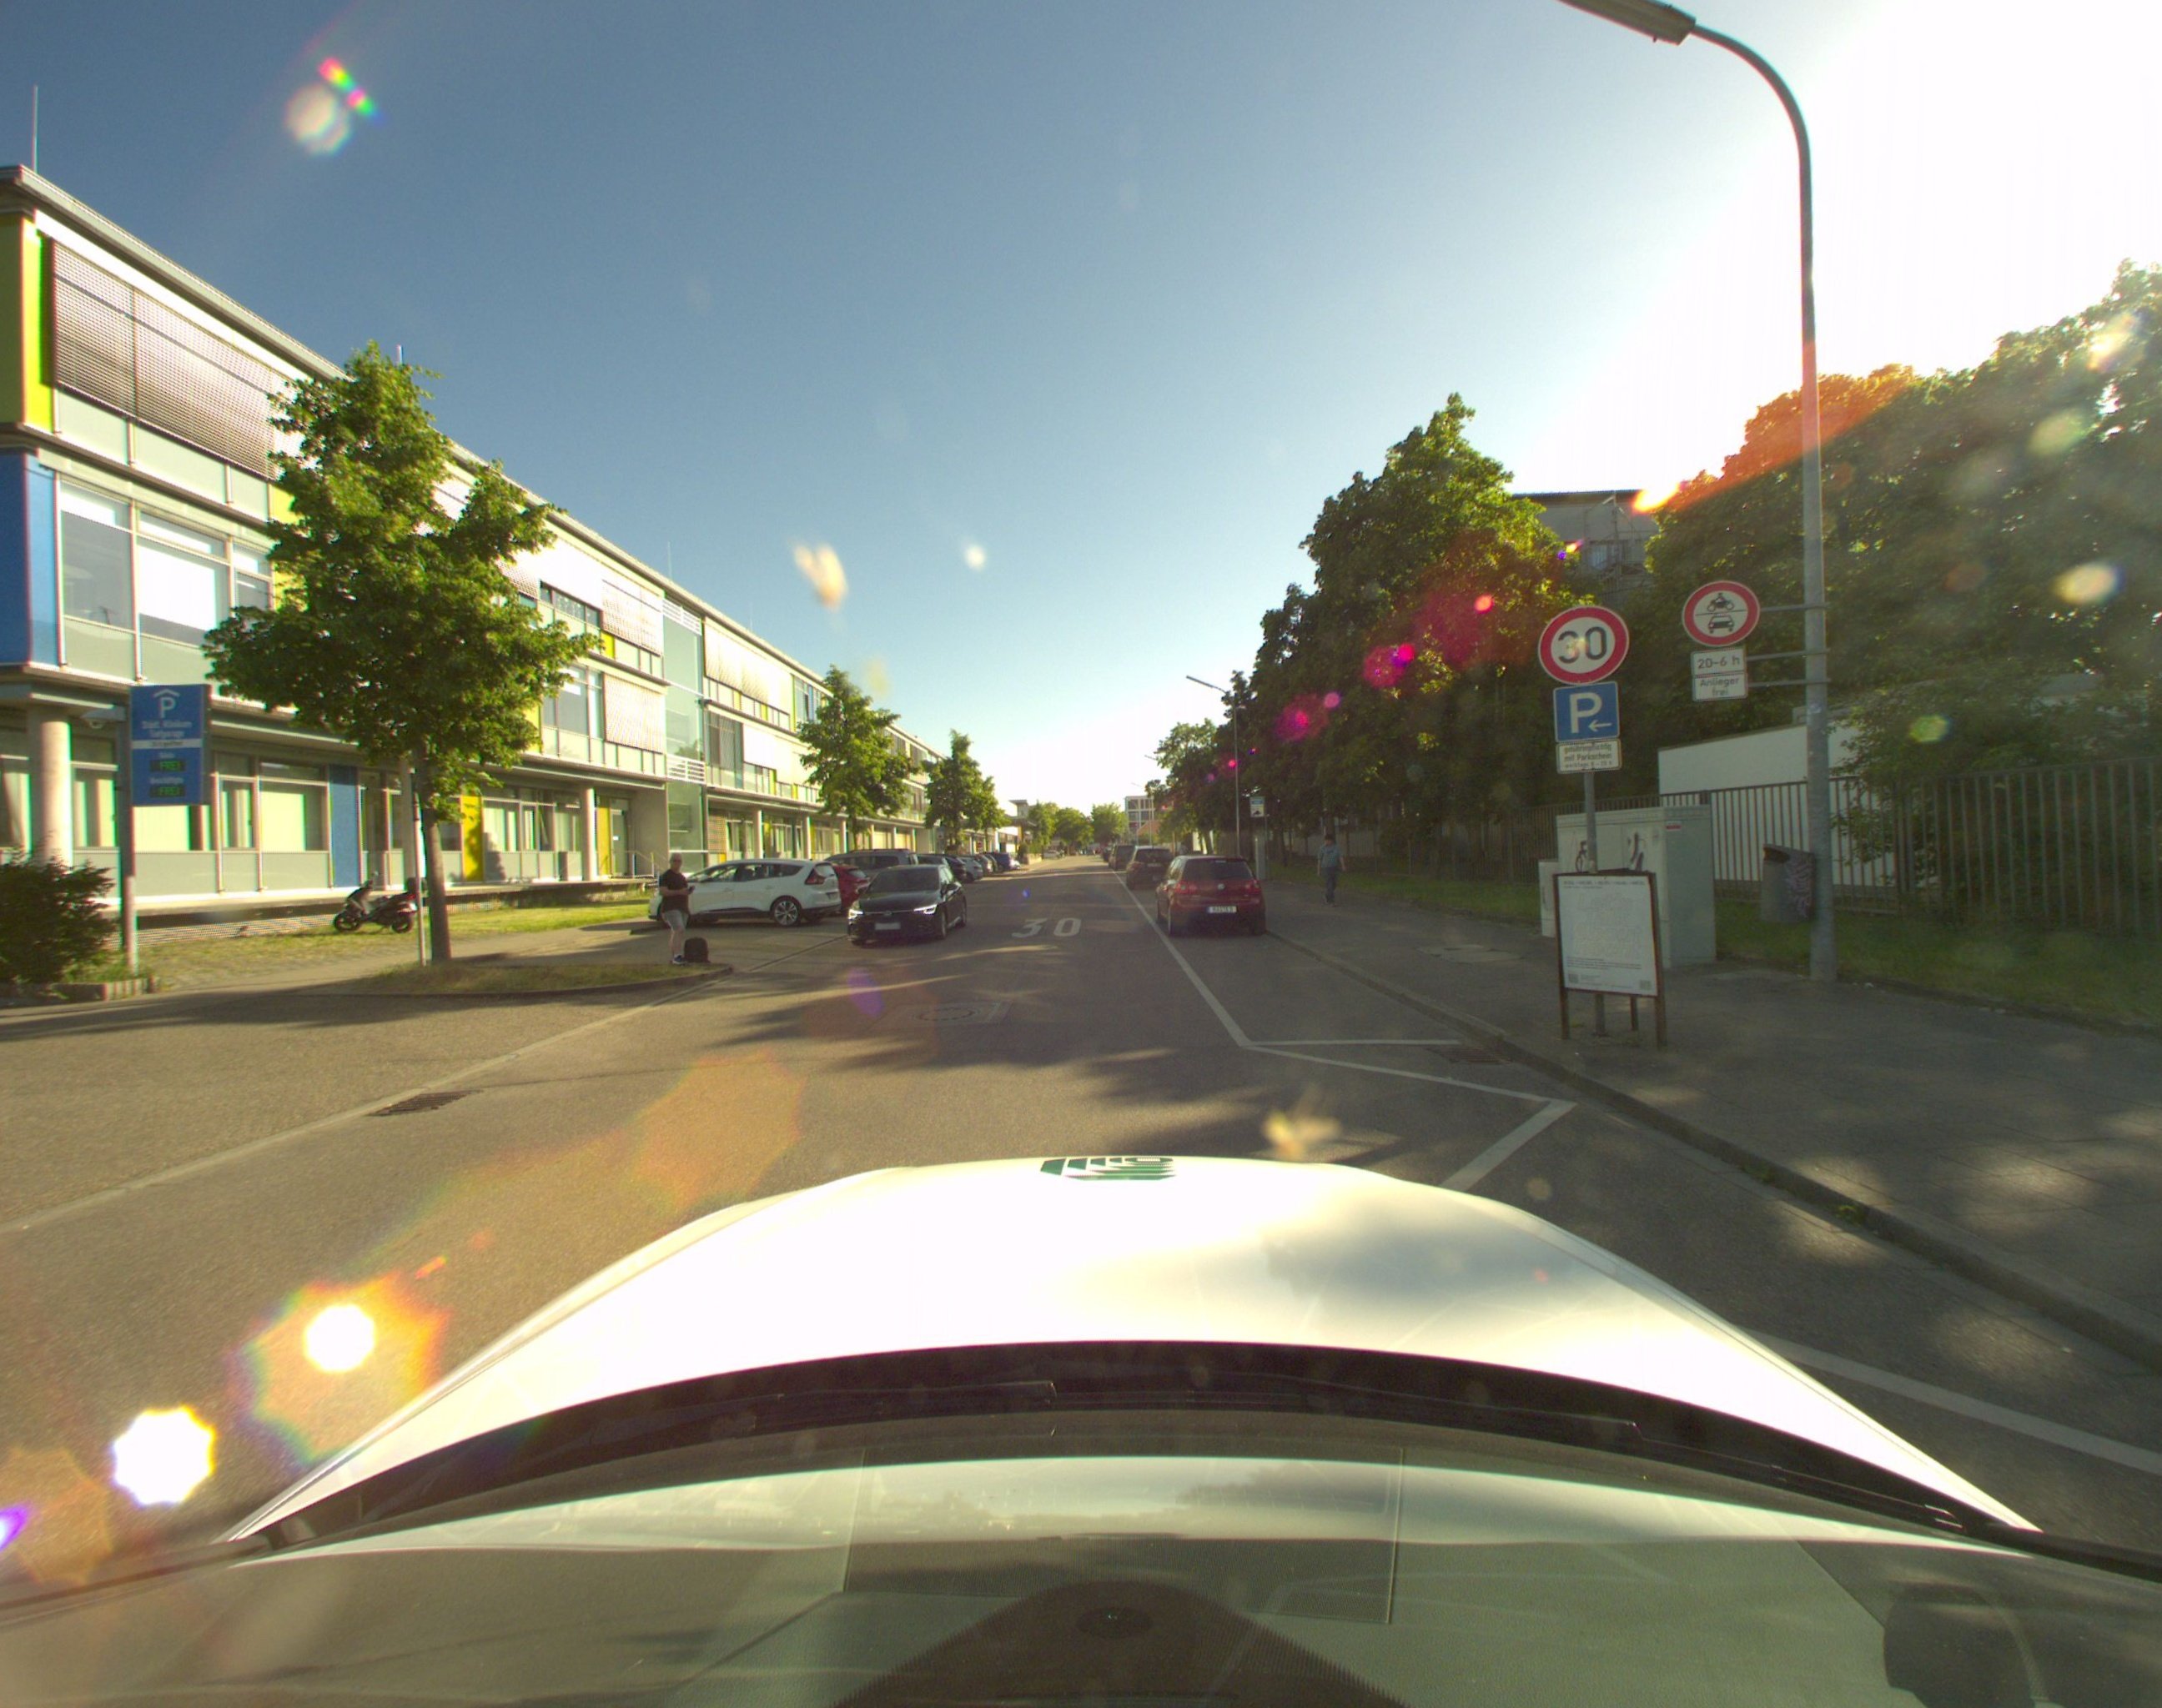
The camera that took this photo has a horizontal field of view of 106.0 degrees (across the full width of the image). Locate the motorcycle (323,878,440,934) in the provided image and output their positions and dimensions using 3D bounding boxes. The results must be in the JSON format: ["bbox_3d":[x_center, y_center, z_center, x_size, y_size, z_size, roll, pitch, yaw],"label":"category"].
[{"bbox_3d":[-15.067,1.114,17.572,2.037,1.149,0.499,0,1,-2],"label":"motorcycle"}]

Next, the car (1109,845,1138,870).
[{"bbox_3d":[3.301,0.243,63.592,1.987,1.822,4.199,-3,0,1],"label":"car"}]

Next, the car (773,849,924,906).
[{"bbox_3d":[-8.081,0.795,28.581,4.725,1.865,1.828,-1,0,1],"label":"car"}]

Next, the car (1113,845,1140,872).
[{"bbox_3d":[3.190,0.301,57.350,1.727,1.830,3.906,-2,0,1],"label":"car"}]

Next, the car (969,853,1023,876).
[{"bbox_3d":[-6.649,0.788,63.787,3.977,1.552,1.999,-3,0,-2],"label":"car"}]

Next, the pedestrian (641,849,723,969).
[{"bbox_3d":[-6.328,0.847,12.954,0.854,1.842,0.826,0,0,2],"label":"pedestrian"}]

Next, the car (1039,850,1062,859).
[{"bbox_3d":[-5.444,0.091,144.962,3.973,1.519,2.000,-2,-1,1],"label":"car"}]

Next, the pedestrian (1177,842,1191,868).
[{"bbox_3d":[6.816,0.044,53.853,0.696,1.661,0.752,-5,0,0],"label":"pedestrian"}]

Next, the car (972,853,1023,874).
[{"bbox_3d":[-6.756,0.771,66.283,3.977,1.552,1.999,-2,0,-2],"label":"car"}]

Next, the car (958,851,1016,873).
[{"bbox_3d":[-7.049,0.593,61.340,4.204,1.603,1.870,-1,0,-3],"label":"car"}]

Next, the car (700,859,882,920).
[{"bbox_3d":[-8.066,0.967,22.932,4.418,1.501,1.828,-2,0,1],"label":"car"}]

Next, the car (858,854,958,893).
[{"bbox_3d":[-7.507,0.824,35.572,3.978,1.607,1.870,-1,0,-3],"label":"car"}]

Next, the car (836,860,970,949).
[{"bbox_3d":[-3.432,0.913,16.502,1.698,1.451,4.086,-3,0,0],"label":"car"}]

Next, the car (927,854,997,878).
[{"bbox_3d":[-7.454,0.730,51.342,4.204,1.462,1.870,-1,0,-3],"label":"car"}]

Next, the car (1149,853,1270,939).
[{"bbox_3d":[2.406,0.718,16.348,1.714,1.455,4.652,-1,0,0],"label":"car"}]

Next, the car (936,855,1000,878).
[{"bbox_3d":[-7.816,0.848,56.755,4.204,1.486,1.870,-1,0,-3],"label":"car"}]

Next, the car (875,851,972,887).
[{"bbox_3d":[-7.379,0.700,38.526,4.237,1.611,2.046,-1,0,-3],"label":"car"}]

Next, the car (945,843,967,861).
[{"bbox_3d":[-15.299,-0.237,100.169,1.987,2.014,4.000,-2,-1,1],"label":"car"}]

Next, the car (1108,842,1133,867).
[{"bbox_3d":[3.361,-0.006,69.840,1.868,1.978,4.001,-3,0,1],"label":"car"}]

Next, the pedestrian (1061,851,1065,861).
[{"bbox_3d":[-3.017,0.293,139.326,0.616,1.624,0.716,-3,0,0],"label":"pedestrian"}]

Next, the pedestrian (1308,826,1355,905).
[{"bbox_3d":[5.797,0.259,18.895,0.715,1.758,0.885,-4,0,1],"label":"pedestrian"}]

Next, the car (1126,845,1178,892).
[{"bbox_3d":[2.749,0.507,32.388,1.805,1.666,4.595,-1,1,2],"label":"car"}]

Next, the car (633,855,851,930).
[{"bbox_3d":[-8.345,0.914,20.301,4.591,1.651,1.870,-2,0,4],"label":"car"}]

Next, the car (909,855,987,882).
[{"bbox_3d":[-7.189,0.782,44.186,3.978,1.358,1.741,-1,0,-3],"label":"car"}]

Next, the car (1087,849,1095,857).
[{"bbox_3d":[2.146,-0.251,170.990,1.737,1.543,4.001,-2,0,1],"label":"car"}]
